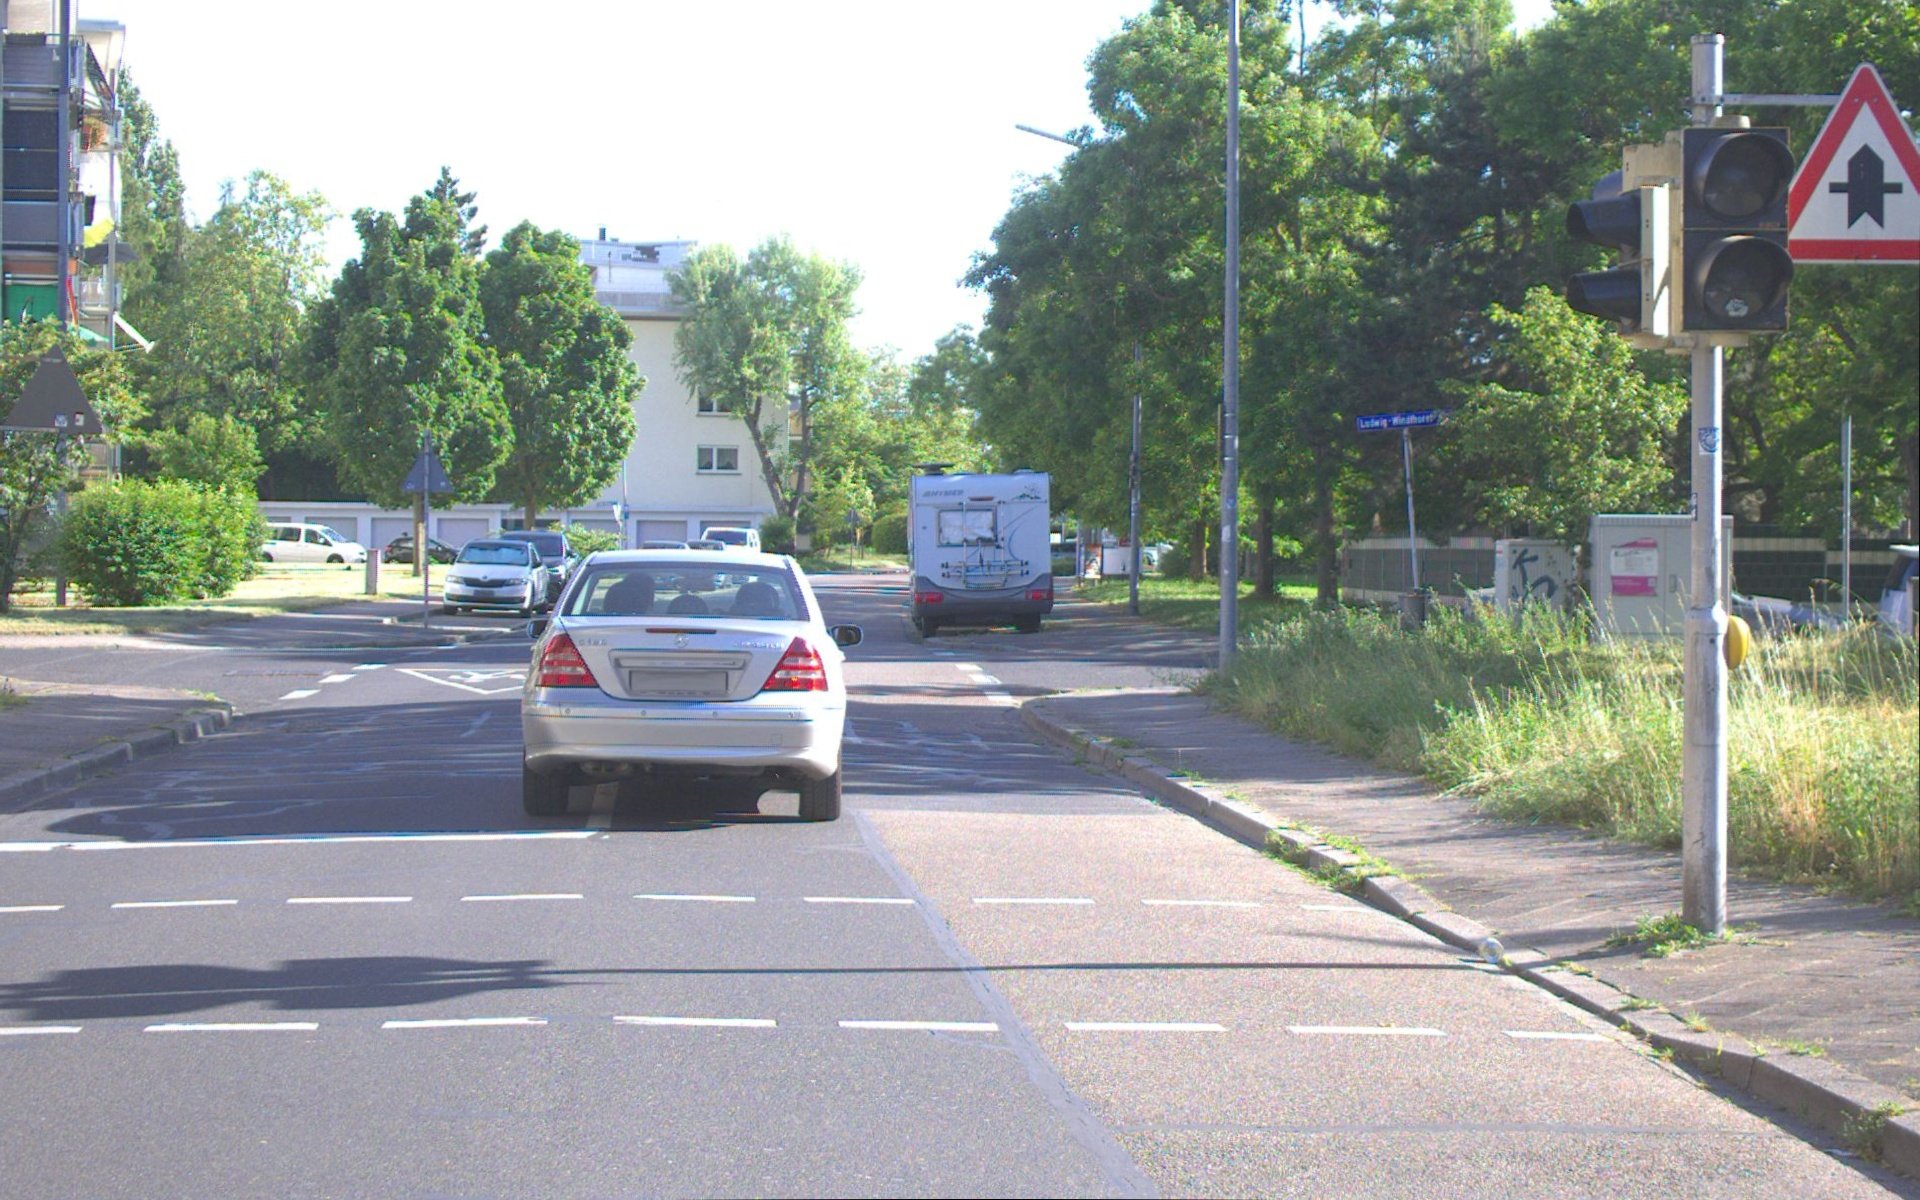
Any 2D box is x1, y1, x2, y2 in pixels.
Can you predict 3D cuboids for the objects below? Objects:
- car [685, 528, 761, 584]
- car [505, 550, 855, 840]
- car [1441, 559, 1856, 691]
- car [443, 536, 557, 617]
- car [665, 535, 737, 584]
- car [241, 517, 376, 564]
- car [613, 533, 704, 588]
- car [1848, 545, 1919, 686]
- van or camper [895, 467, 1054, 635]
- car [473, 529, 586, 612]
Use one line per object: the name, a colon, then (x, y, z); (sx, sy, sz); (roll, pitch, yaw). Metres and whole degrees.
car: (-8.312, -1.543, 121.101); (2.014, 1.879, 5.190); (2, 1, 3)
car: (-1.552, 0.449, 18.866); (1.733, 1.429, 3.439); (0, 1, -5)
car: (7.888, 0.271, 39.690); (4.425, 1.333, 1.746); (1, 2, 1)
car: (-8.897, -0.484, 66.712); (1.646, 1.461, 4.331); (1, 1, -1)
car: (-8.619, -1.345, 114.615); (1.833, 1.513, 4.221); (2, 1, 2)
car: (-27.286, -2.505, 144.069); (5.107, 1.944, 2.236); (0, 1, 10)
car: (-8.883, -1.185, 101.792); (2.035, 1.487, 5.256); (3, 1, 1)
car: (12.292, 0.177, 39.624); (3.685, 1.572, 1.828); (1, 1, 4)
van or camper: (0.171, -0.844, 57.985); (2.351, 2.587, 6.426); (-3, 1, -2)
car: (-9.093, -0.650, 72.997); (1.914, 1.598, 4.813); (3, 1, -2)
